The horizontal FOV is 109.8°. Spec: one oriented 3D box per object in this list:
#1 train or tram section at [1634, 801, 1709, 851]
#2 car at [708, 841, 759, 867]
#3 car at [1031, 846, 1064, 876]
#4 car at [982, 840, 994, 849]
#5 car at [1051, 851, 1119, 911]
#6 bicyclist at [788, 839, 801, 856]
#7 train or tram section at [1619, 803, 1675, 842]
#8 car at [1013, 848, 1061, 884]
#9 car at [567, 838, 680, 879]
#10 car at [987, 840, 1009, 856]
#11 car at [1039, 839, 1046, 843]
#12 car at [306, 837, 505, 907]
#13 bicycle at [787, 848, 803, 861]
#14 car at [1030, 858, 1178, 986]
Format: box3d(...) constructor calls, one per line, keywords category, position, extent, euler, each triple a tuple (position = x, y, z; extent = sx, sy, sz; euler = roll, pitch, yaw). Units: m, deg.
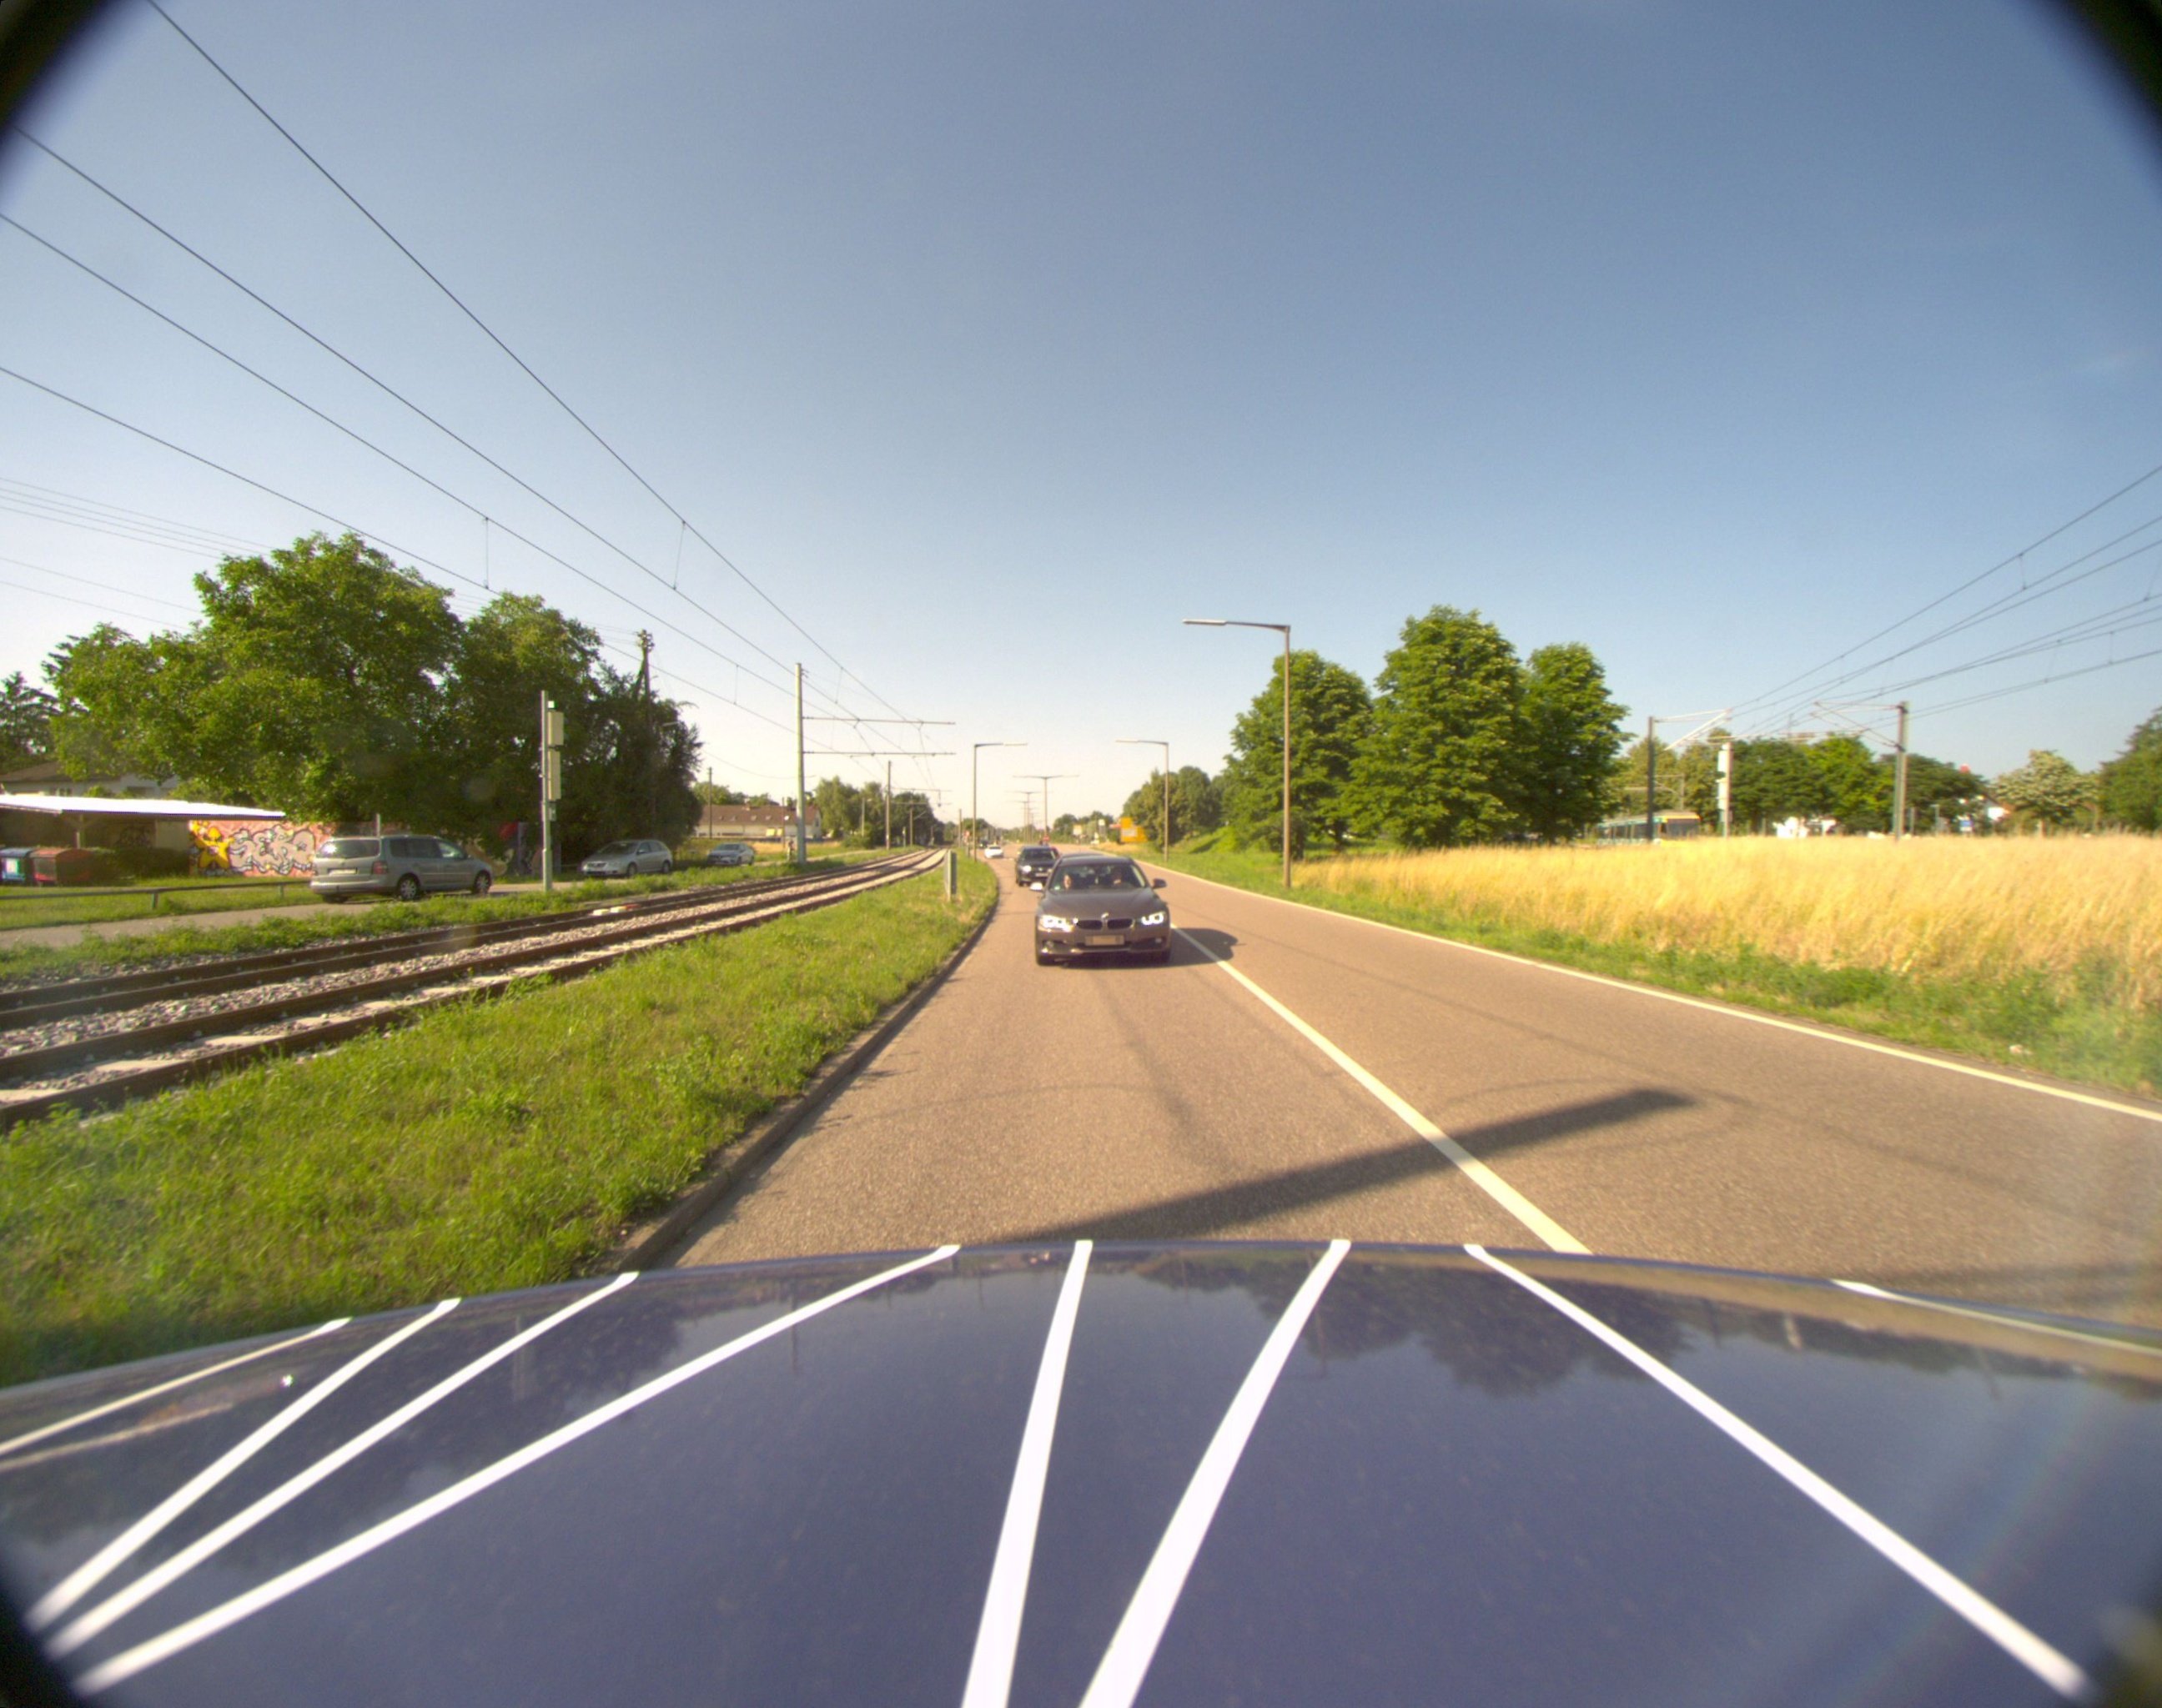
box3d(category="train or tram section", position=(47.615, -2.444, 61.691), extent=(2.908, 3.549, 14.281), euler=(0, 3, 30))
box3d(category="car", position=(-19.952, -0.028, 43.796), extent=(1.539, 1.440, 4.127), euler=(0, 1, -8))
box3d(category="car", position=(-1.937, 0.355, 42.917), extent=(1.608, 1.504, 4.265), euler=(-2, 1, -5))
box3d(category="car", position=(-16.175, -1.637, 131.550), extent=(1.838, 1.504, 4.149), euler=(-2, 1, -9))
box3d(category="car", position=(0.100, 0.671, 21.583), extent=(1.711, 1.444, 4.589), euler=(-1, 1, 0))
box3d(category="bicyclist", position=(-21.076, -0.517, 55.862), extent=(0.641, 1.226, 0.790), euler=(-1, 2, -6))
box3d(category="train or tram section", position=(54.301, -3.054, 73.171), extent=(2.919, 3.435, 12.185), euler=(-1, 2, 30))
box3d(category="car", position=(-1.918, 0.447, 32.404), extent=(1.848, 1.348, 4.151), euler=(-2, 1, -5))
box3d(category="car", position=(-18.850, 0.133, 31.598), extent=(1.912, 1.581, 4.725), euler=(0, 1, -2))
box3d(category="car", position=(-8.908, -0.688, 81.508), extent=(1.970, 1.609, 4.302), euler=(-1, 1, -11))
box3d(category="car", position=(-12.509, -4.239, 246.320), extent=(1.564, 1.369, 3.381), euler=(-3, 3, -11))
box3d(category="car", position=(-17.235, 0.383, 19.727), extent=(1.527, 1.601, 4.480), euler=(0, 1, -7))
box3d(category="bicycle", position=(-21.061, 0.024, 55.914), extent=(0.645, 0.904, 1.812), euler=(-1, 1, -6))
box3d(category="car", position=(0.246, 0.828, 11.114), extent=(1.747, 1.444, 3.946), euler=(-1, 1, -1))
